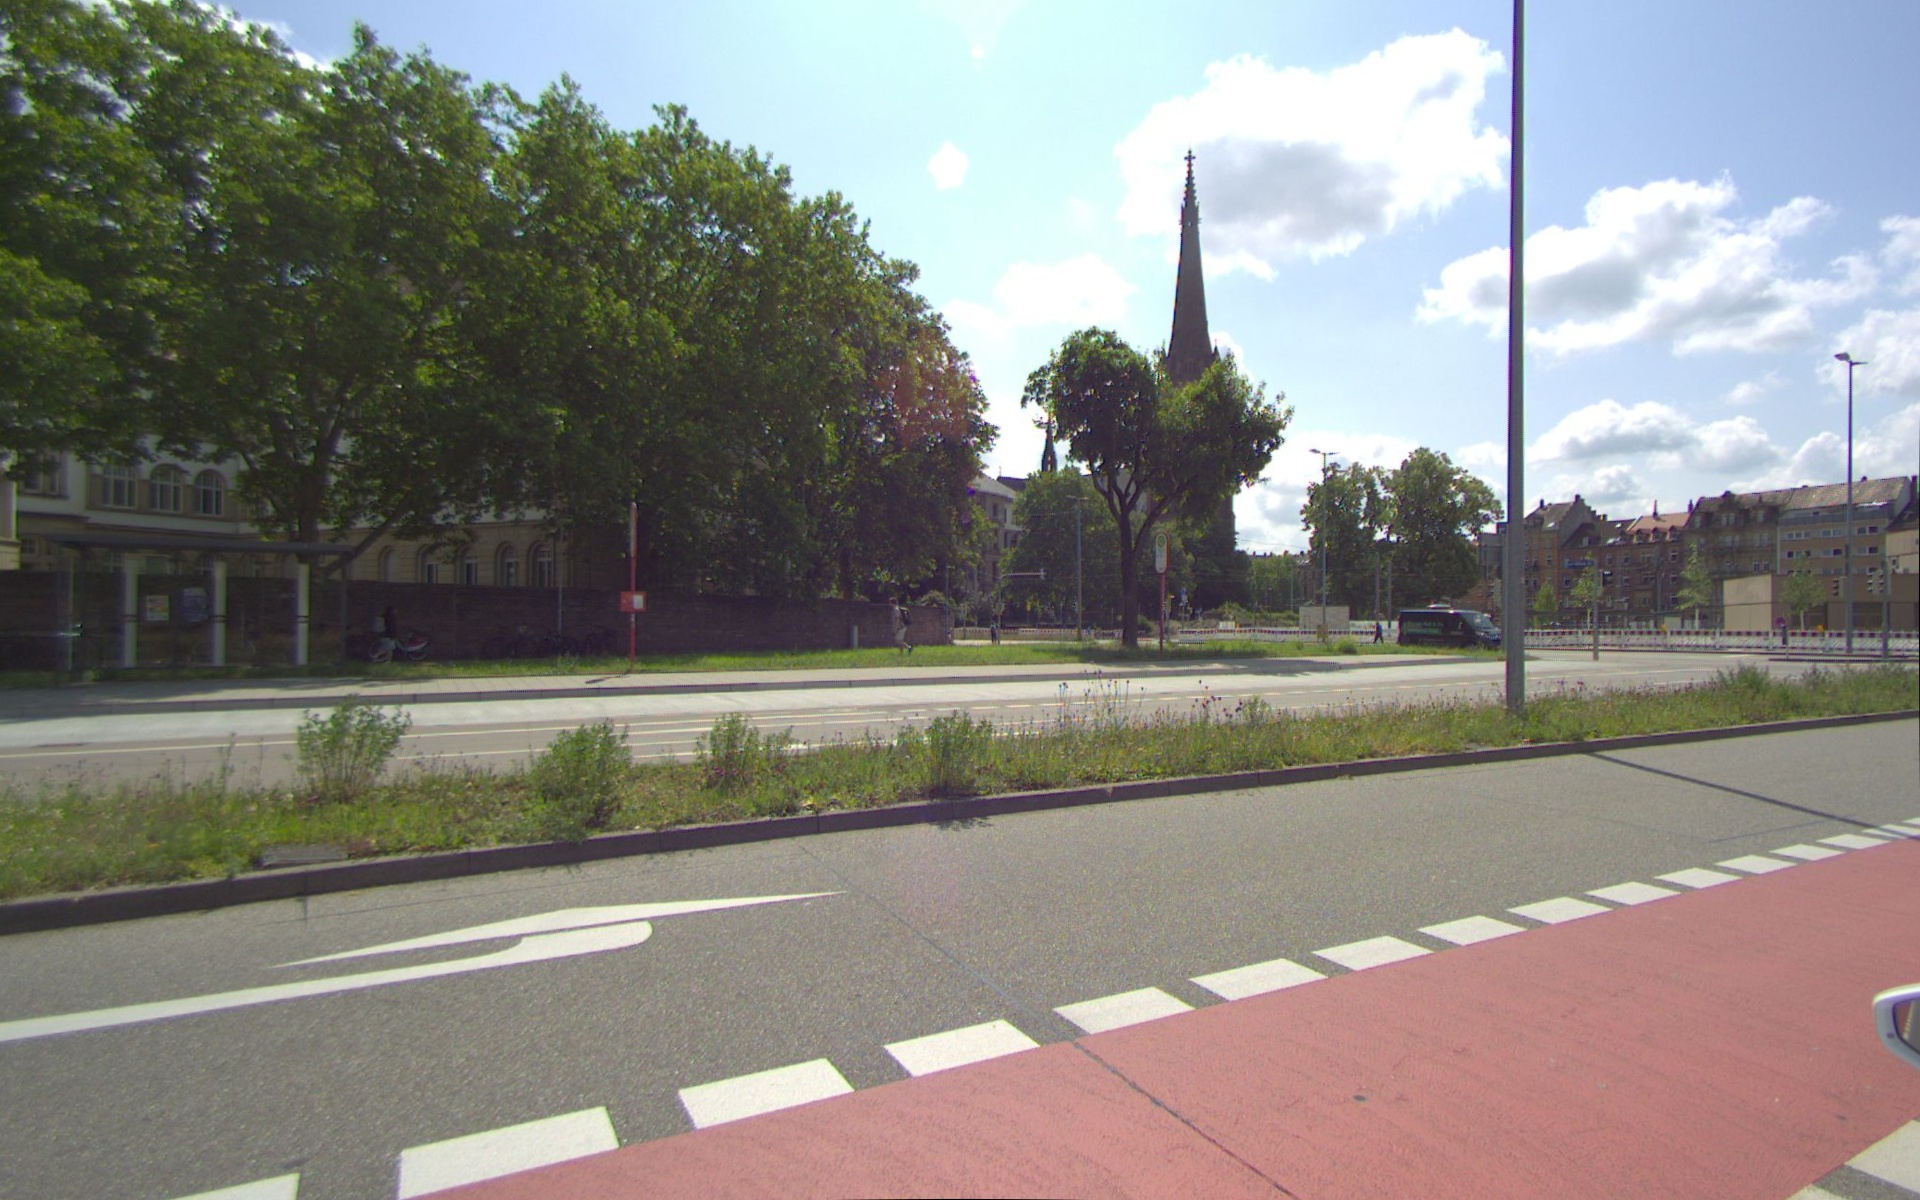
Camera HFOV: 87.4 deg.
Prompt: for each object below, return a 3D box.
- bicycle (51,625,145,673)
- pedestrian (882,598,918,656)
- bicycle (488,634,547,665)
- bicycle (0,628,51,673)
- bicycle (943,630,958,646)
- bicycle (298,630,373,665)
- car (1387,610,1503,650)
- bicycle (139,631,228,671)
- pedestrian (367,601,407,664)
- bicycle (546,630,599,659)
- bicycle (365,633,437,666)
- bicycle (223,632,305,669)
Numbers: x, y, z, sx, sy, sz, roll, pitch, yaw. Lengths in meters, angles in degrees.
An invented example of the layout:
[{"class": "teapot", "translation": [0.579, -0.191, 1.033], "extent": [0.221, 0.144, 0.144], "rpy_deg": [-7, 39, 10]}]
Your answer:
[{"class": "bicycle", "translation": [-20.040, 1.113, 23.373], "extent": [0.538, 1.065, 1.615], "rpy_deg": [0, -1, 43]}, {"class": "pedestrian", "translation": [-1.664, 0.753, 27.964], "extent": [0.858, 1.580, 0.556], "rpy_deg": [0, -1, 13]}, {"class": "bicycle", "translation": [-14.069, 1.566, 31.941], "extent": [0.537, 0.914, 1.658], "rpy_deg": [0, -1, 39]}, {"class": "bicycle", "translation": [-21.186, 1.114, 22.137], "extent": [0.538, 0.964, 1.656], "rpy_deg": [0, -1, 43]}, {"class": "bicycle", "translation": [-0.571, 2.208, 58.968], "extent": [0.534, 0.914, 1.666], "rpy_deg": [0, -1, 12]}, {"class": "bicycle", "translation": [-17.134, 1.297, 27.577], "extent": [0.537, 0.914, 1.658], "rpy_deg": [0, -1, 39]}, {"class": "car", "translation": [24.061, 1.441, 50.019], "extent": [1.908, 1.904, 4.980], "rpy_deg": [0, -1, -33]}, {"class": "bicycle", "translation": [-19.200, 1.246, 24.861], "extent": [0.537, 0.914, 1.658], "rpy_deg": [0, -1, 39]}, {"class": "pedestrian", "translation": [-15.362, 0.856, 26.928], "extent": [0.607, 1.638, 0.754], "rpy_deg": [1, 0, 39]}, {"class": "bicycle", "translation": [-13.000, 1.480, 33.733], "extent": [0.536, 0.914, 1.660], "rpy_deg": [0, -1, 34]}, {"class": "bicycle", "translation": [-16.158, 1.421, 29.069], "extent": [0.446, 0.914, 1.786], "rpy_deg": [0, -1, 39]}, {"class": "bicycle", "translation": [-18.149, 1.307, 26.223], "extent": [0.537, 0.914, 1.658], "rpy_deg": [0, -1, 39]}]
